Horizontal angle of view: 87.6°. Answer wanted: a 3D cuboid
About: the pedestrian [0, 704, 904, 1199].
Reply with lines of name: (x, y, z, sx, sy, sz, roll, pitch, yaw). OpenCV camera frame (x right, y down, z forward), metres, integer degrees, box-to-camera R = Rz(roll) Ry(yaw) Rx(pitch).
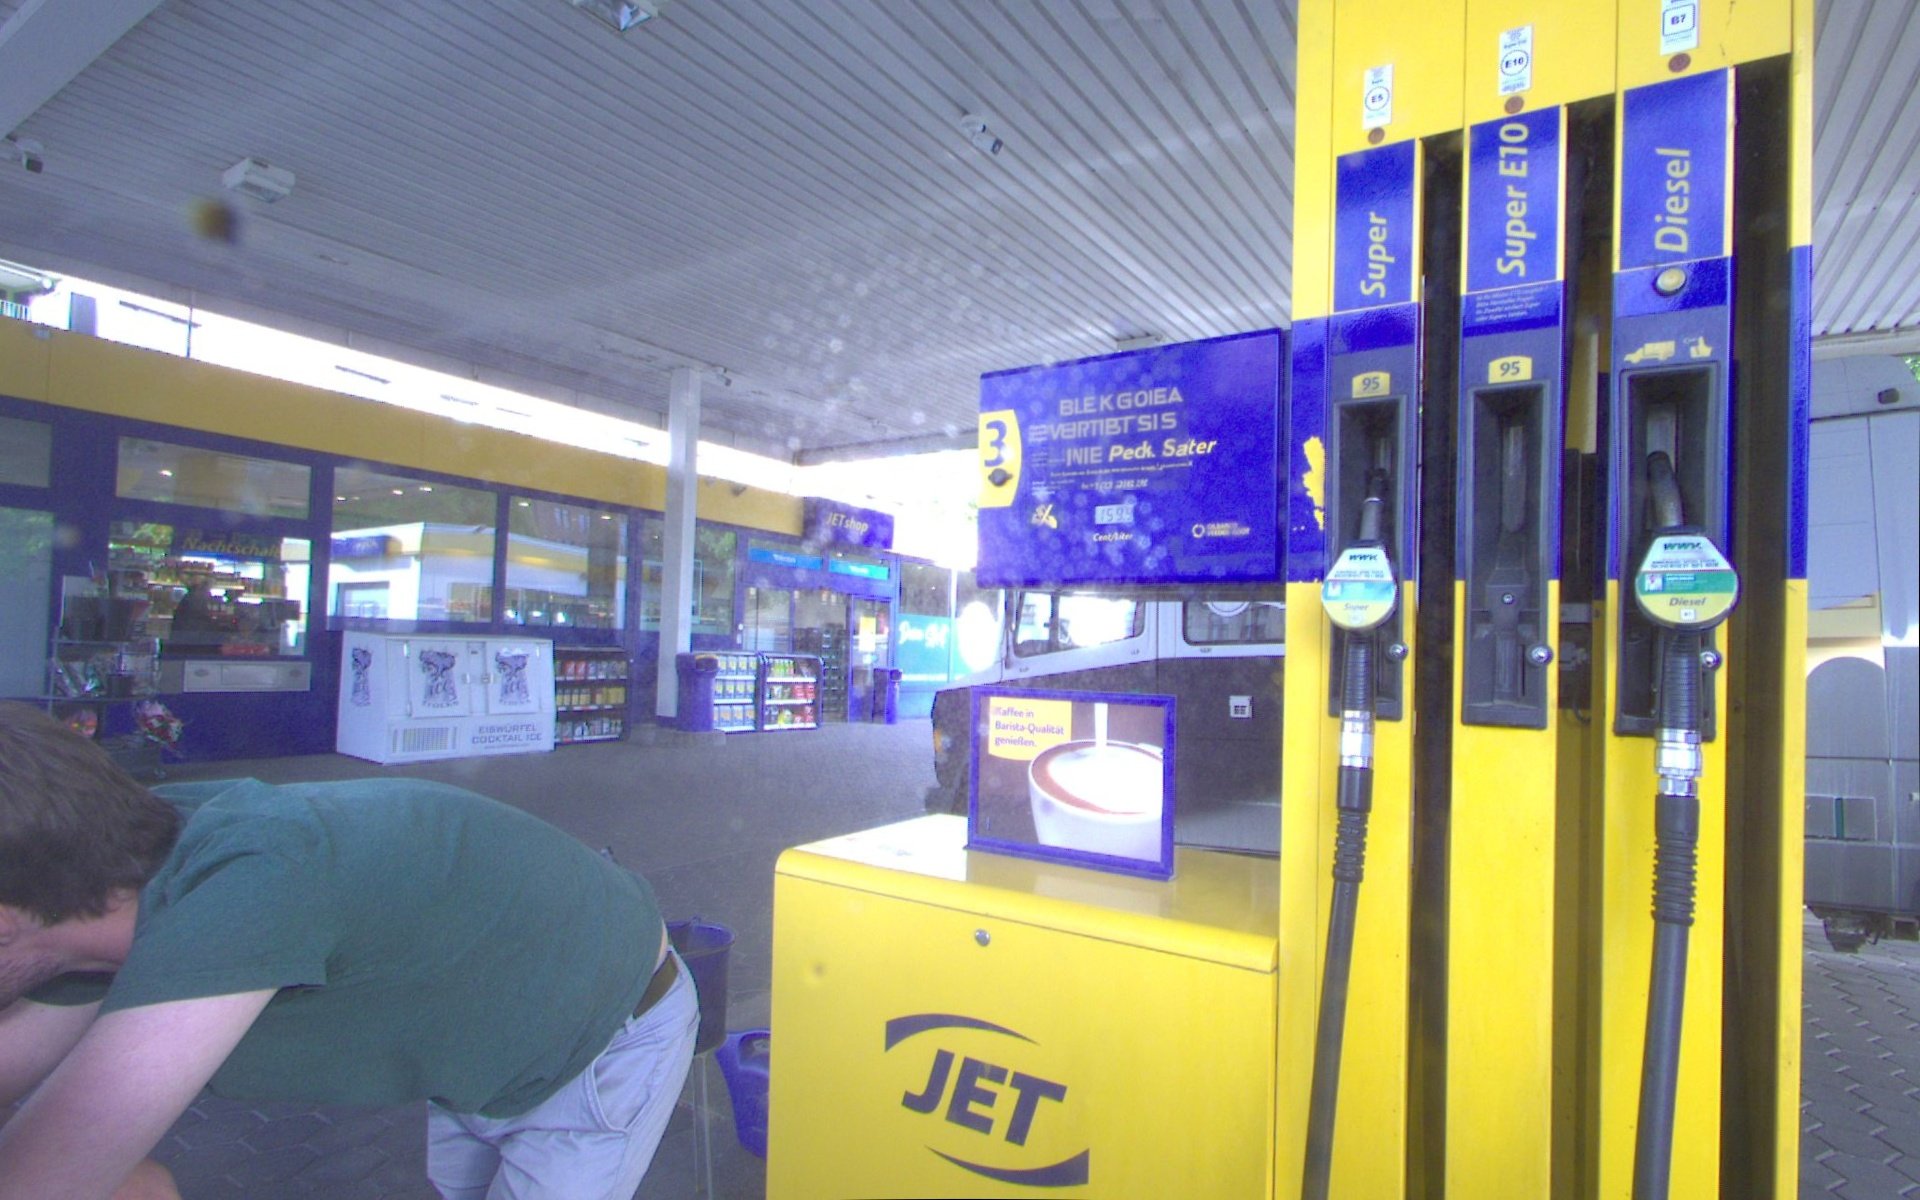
pedestrian: (-0.542, 0.796, 1.075, 0.664, 1.298, 0.749, -1, -1, 31)

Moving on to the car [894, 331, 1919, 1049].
car: (2.380, 0.399, 6.020, 5.219, 2.724, 2.250, 0, -3, 34)
